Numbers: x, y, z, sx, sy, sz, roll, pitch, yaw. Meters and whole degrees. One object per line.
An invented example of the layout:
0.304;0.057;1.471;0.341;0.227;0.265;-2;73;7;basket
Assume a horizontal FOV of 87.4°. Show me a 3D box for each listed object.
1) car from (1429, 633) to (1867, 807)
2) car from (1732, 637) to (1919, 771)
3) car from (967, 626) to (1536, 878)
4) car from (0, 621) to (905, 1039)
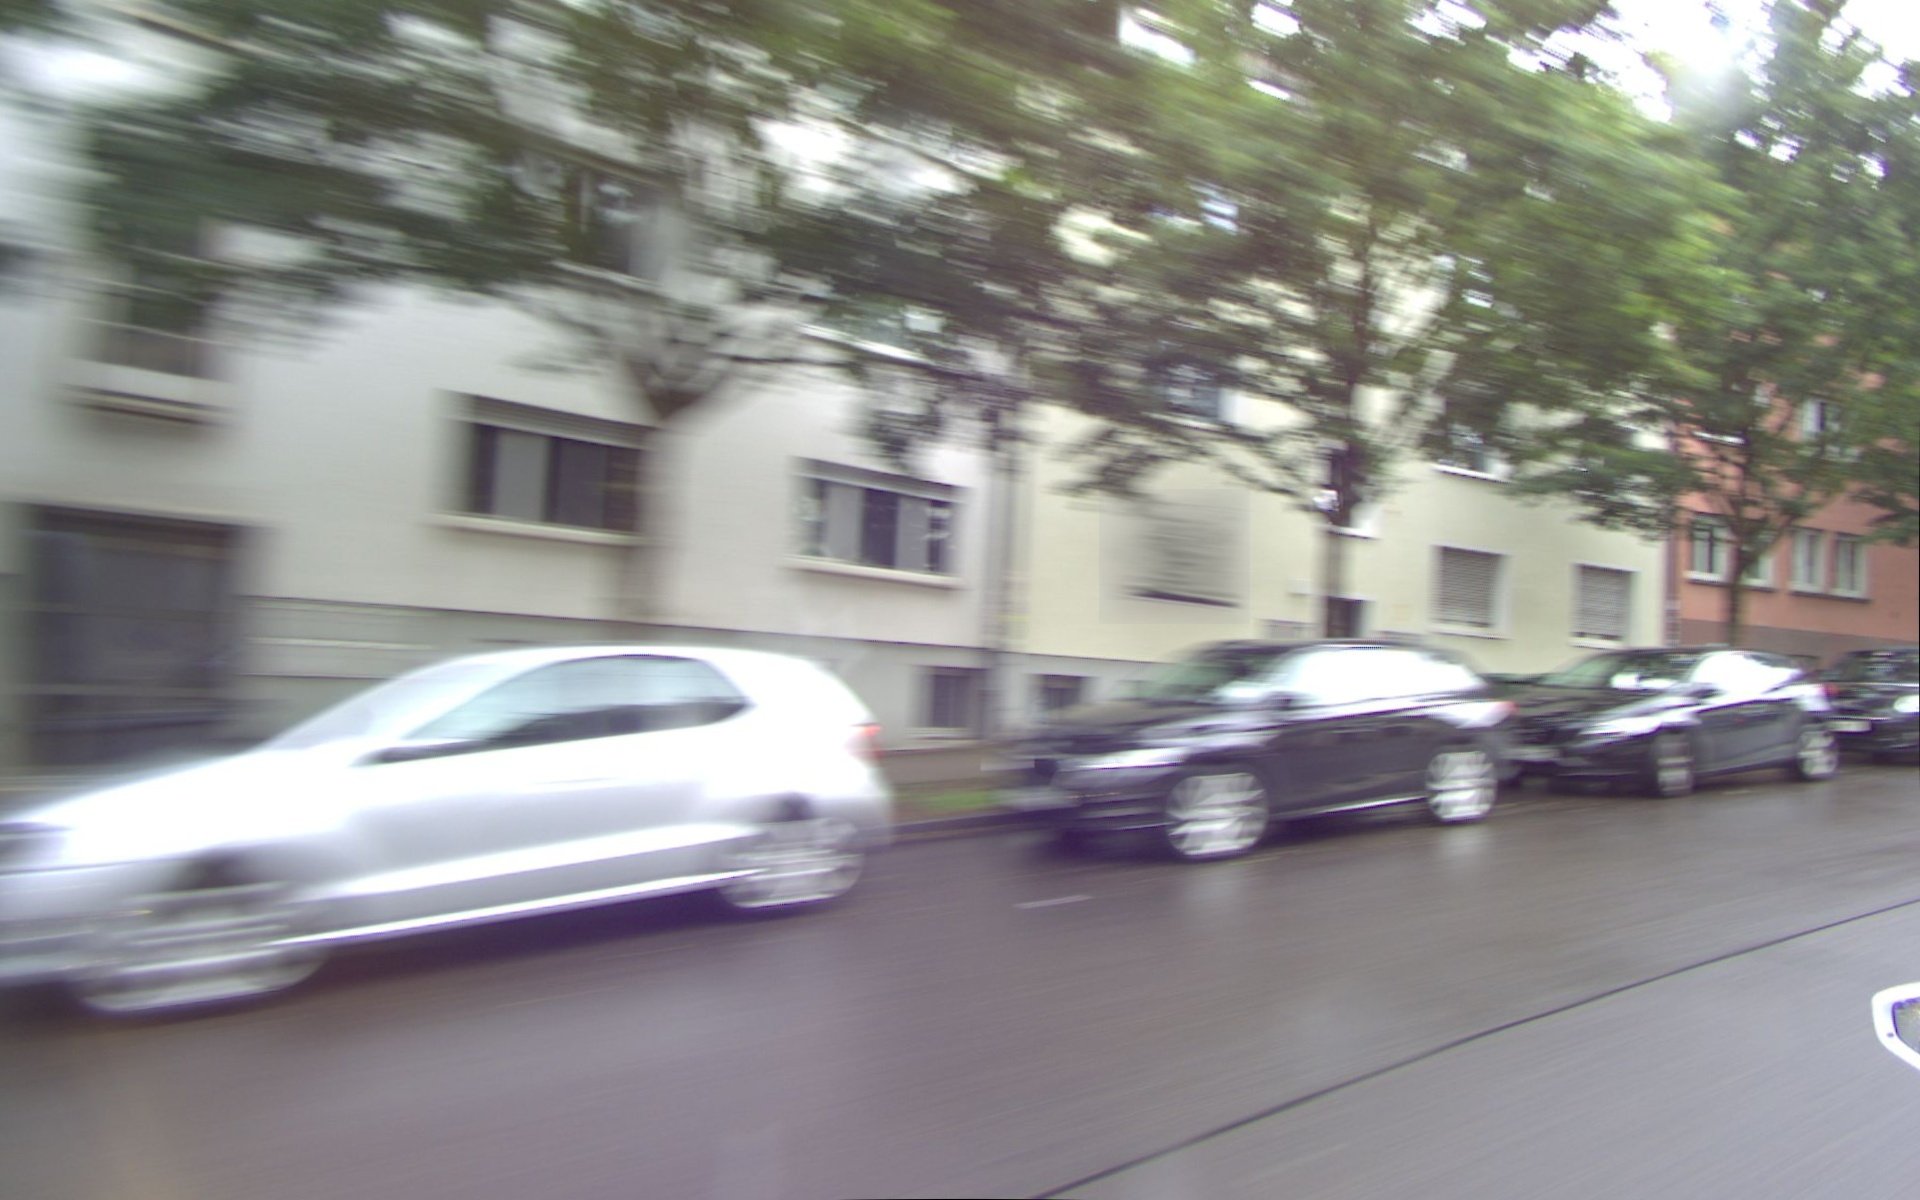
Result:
7.314;1.127;10.623;4.582;1.513;1.782;1;-2;-25;car
12.353;1.249;13.161;4.303;1.513;1.782;1;-3;-26;car
2.409;1.011;7.983;4.446;1.512;1.779;1;-4;-30;car
-2.375;0.855;5.109;4.008;1.428;1.575;2;-3;-36;car
